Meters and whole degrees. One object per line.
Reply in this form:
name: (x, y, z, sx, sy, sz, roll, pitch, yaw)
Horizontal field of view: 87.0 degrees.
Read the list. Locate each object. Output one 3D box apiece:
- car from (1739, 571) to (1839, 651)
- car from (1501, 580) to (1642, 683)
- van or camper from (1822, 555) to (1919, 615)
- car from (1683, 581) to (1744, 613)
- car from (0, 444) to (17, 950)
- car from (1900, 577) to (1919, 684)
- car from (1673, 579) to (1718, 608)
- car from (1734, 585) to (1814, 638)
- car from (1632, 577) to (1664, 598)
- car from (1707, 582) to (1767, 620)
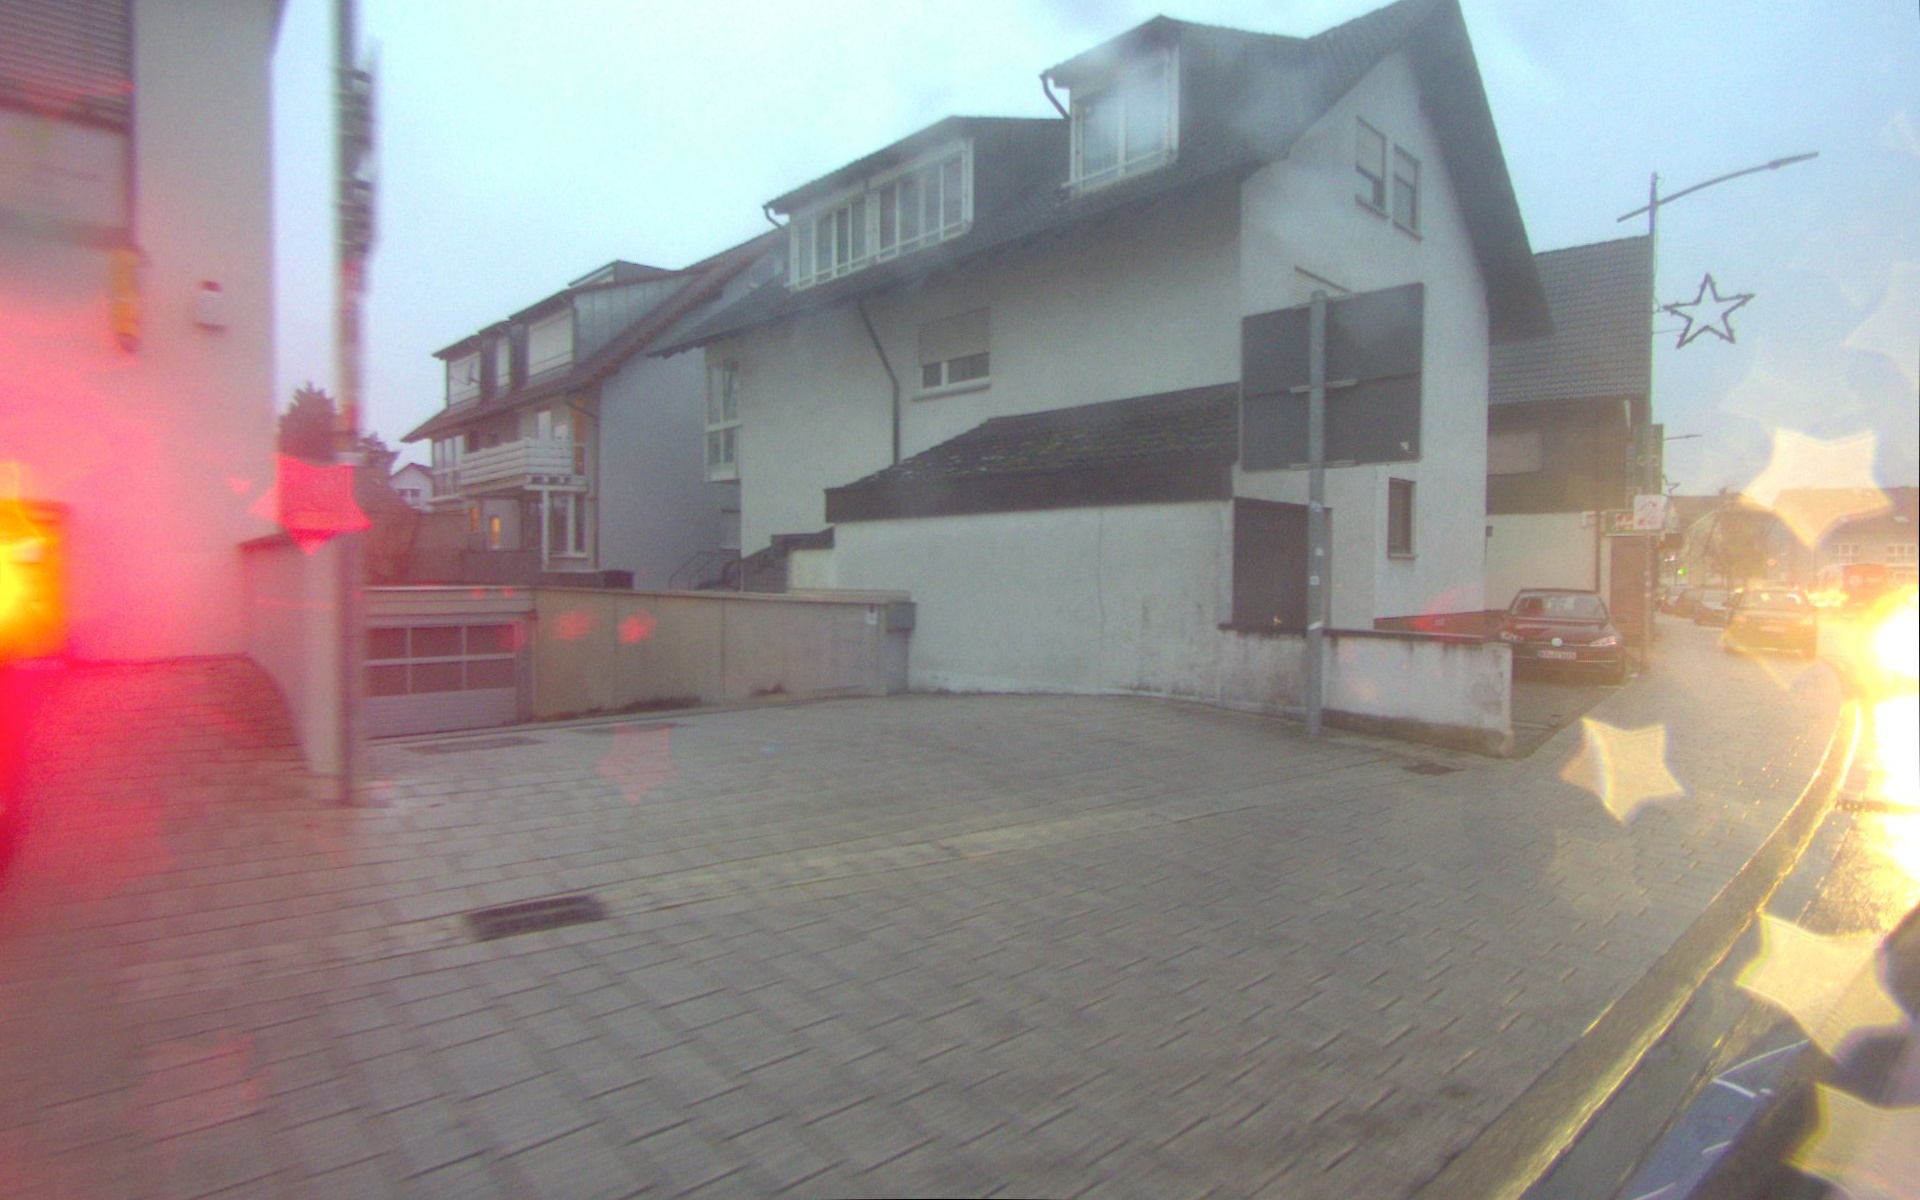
car: (21.208, 0.216, 25.892, 1.768, 1.803, 3.942, 5, 4, 40)
car: (10.191, 0.417, 16.945, 1.757, 1.410, 3.872, 3, 3, 31)
van or camper: (43.781, -0.752, 48.837, 2.230, 2.702, 6.483, 2, 2, 31)
car: (39.123, -0.184, 52.653, 1.947, 1.552, 4.955, -2, 0, 31)
car: (-5.215, 0.055, 4.112, 4.181, 1.657, 1.776, 11, 8, 43)
car: (16.939, 0.503, 16.830, 1.901, 1.661, 4.494, 0, -1, 43)
car: (42.498, -0.412, 58.548, 1.656, 1.595, 4.449, 1, 2, 30)
car: (24.527, 0.308, 30.575, 1.641, 1.432, 2.692, 4, 3, 36)
car: (56.178, -1.058, 82.715, 1.798, 1.583, 4.260, 2, 2, 30)
car: (33.497, -0.008, 43.711, 1.646, 1.472, 4.189, 4, 3, 33)
